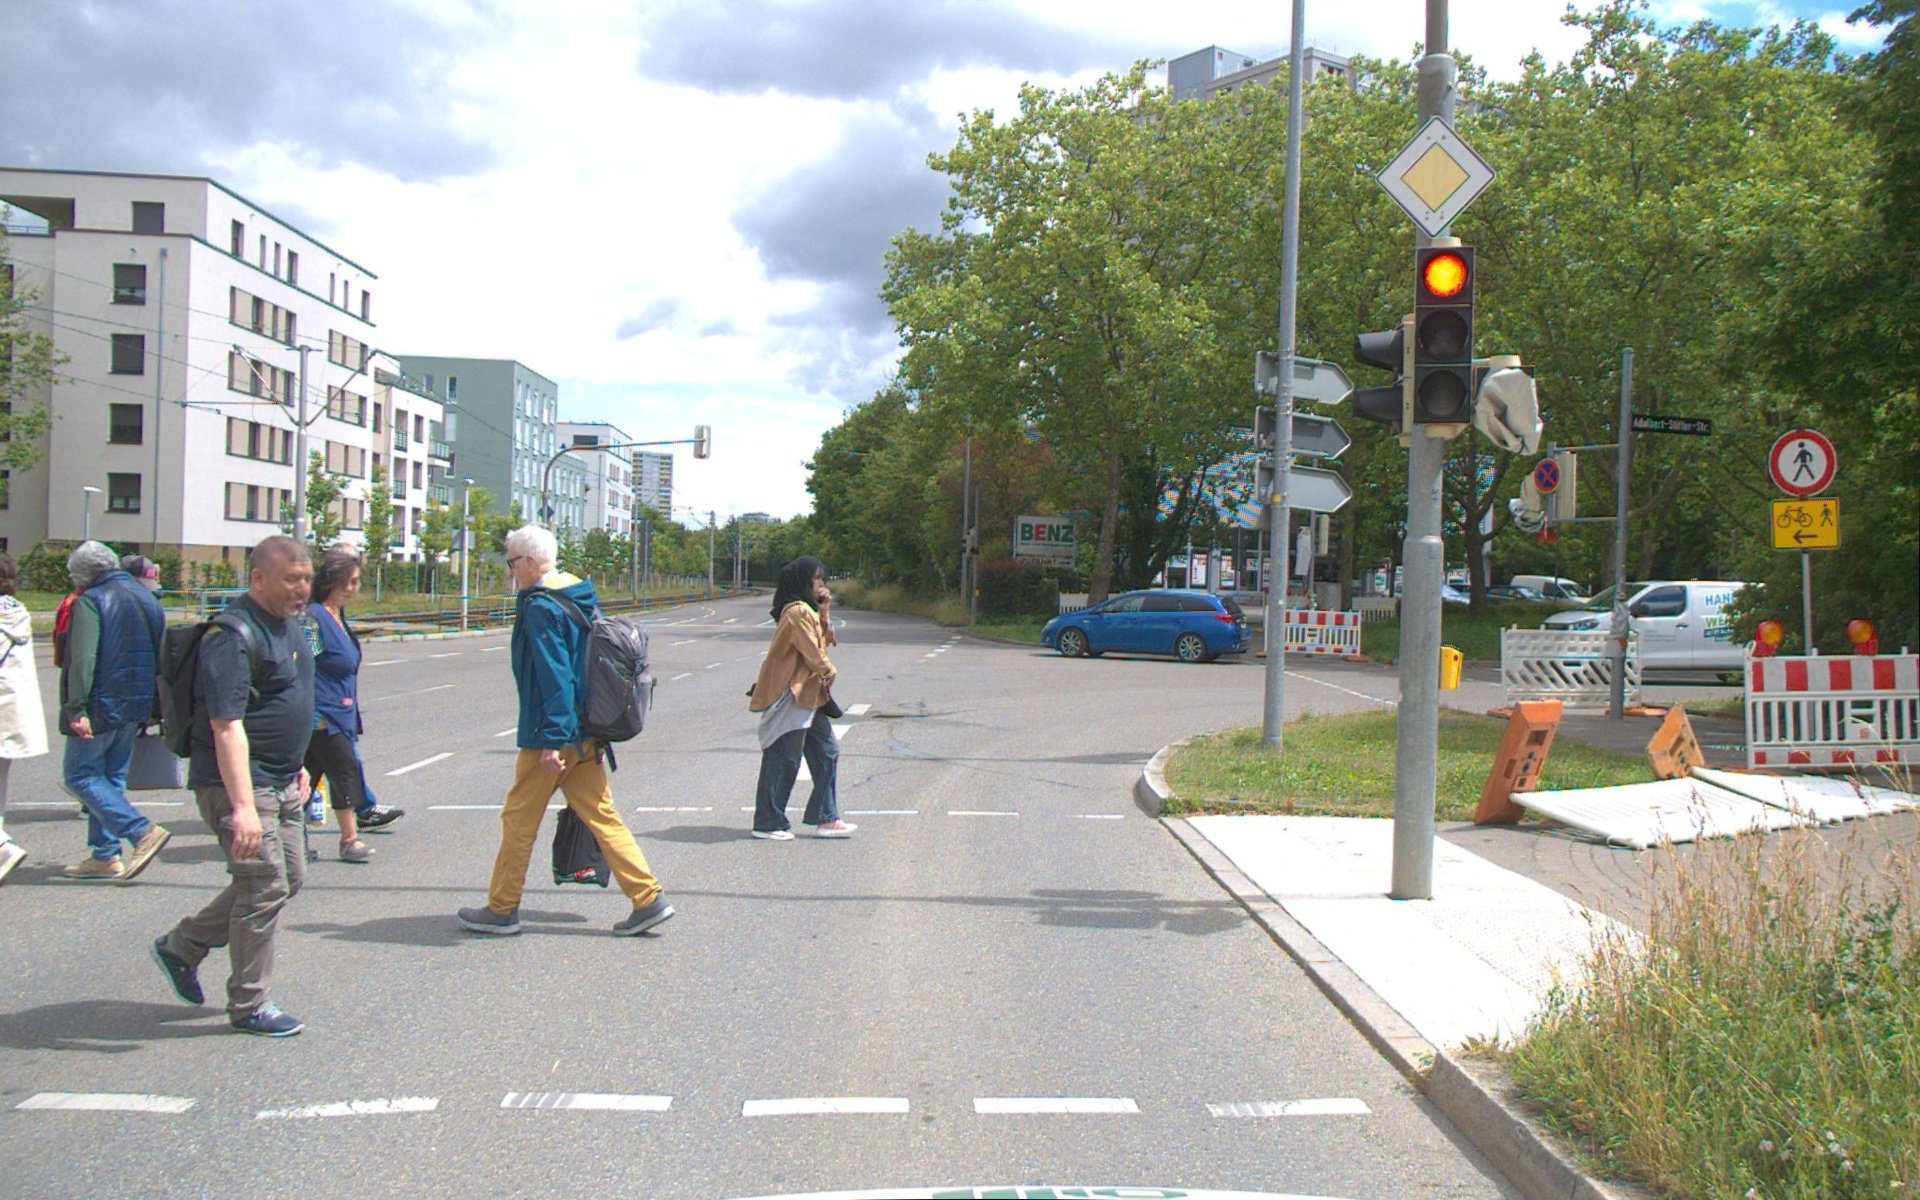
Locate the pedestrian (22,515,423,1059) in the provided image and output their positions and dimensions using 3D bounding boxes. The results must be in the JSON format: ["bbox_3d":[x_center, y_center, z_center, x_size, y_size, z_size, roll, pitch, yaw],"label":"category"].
[{"bbox_3d":[-2.430,0.576,5.570,0.939,1.677,0.880,1,0,0],"label":"pedestrian"}]

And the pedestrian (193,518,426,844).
[{"bbox_3d":[-3.777,0.448,9.693,0.982,1.804,0.929,1,0,-1],"label":"pedestrian"}]

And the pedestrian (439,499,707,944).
[{"bbox_3d":[-1.646,0.494,7.222,0.990,1.805,0.947,1,0,-5],"label":"pedestrian"}]

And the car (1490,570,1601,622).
[{"bbox_3d":[23.936,-0.186,67.699,1.974,2.049,3.957,0,1,-32],"label":"car"}]

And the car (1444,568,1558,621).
[{"bbox_3d":[21.369,-0.238,65.463,1.974,2.049,3.957,0,1,-32],"label":"car"}]

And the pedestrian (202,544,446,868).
[{"bbox_3d":[-3.385,0.533,8.887,0.893,1.635,0.930,1,0,4],"label":"pedestrian"}]

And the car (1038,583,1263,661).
[{"bbox_3d":[4.048,0.436,35.022,4.383,1.512,1.989,1,0,20],"label":"car"}]

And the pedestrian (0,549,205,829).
[{"bbox_3d":[-5.288,0.514,10.111,0.874,1.624,0.908,1,0,4],"label":"pedestrian"}]

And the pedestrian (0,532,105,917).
[{"bbox_3d":[-4.511,0.531,7.525,0.805,1.668,0.734,1,0,7],"label":"pedestrian"}]

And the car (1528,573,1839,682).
[{"bbox_3d":[13.427,0.499,30.863,4.976,1.906,1.947,1,0,-5],"label":"car"}]

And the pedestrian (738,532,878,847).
[{"bbox_3d":[-0.902,0.503,9.771,0.767,1.773,0.827,1,0,-6],"label":"pedestrian"}]

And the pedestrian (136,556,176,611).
[{"bbox_3d":[-22.674,-0.465,46.665,0.814,1.542,0.636,1,0,-1],"label":"pedestrian"}]

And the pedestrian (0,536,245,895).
[{"bbox_3d":[-4.127,0.532,8.122,0.850,1.663,0.766,1,0,6],"label":"pedestrian"}]

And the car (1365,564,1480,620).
[{"bbox_3d":[17.524,-0.317,62.829,1.974,2.049,3.957,0,1,-32],"label":"car"}]

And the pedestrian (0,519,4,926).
[{"bbox_3d":[-4.168,0.527,5.861,1.000,1.677,0.929,1,0,0],"label":"pedestrian"}]
